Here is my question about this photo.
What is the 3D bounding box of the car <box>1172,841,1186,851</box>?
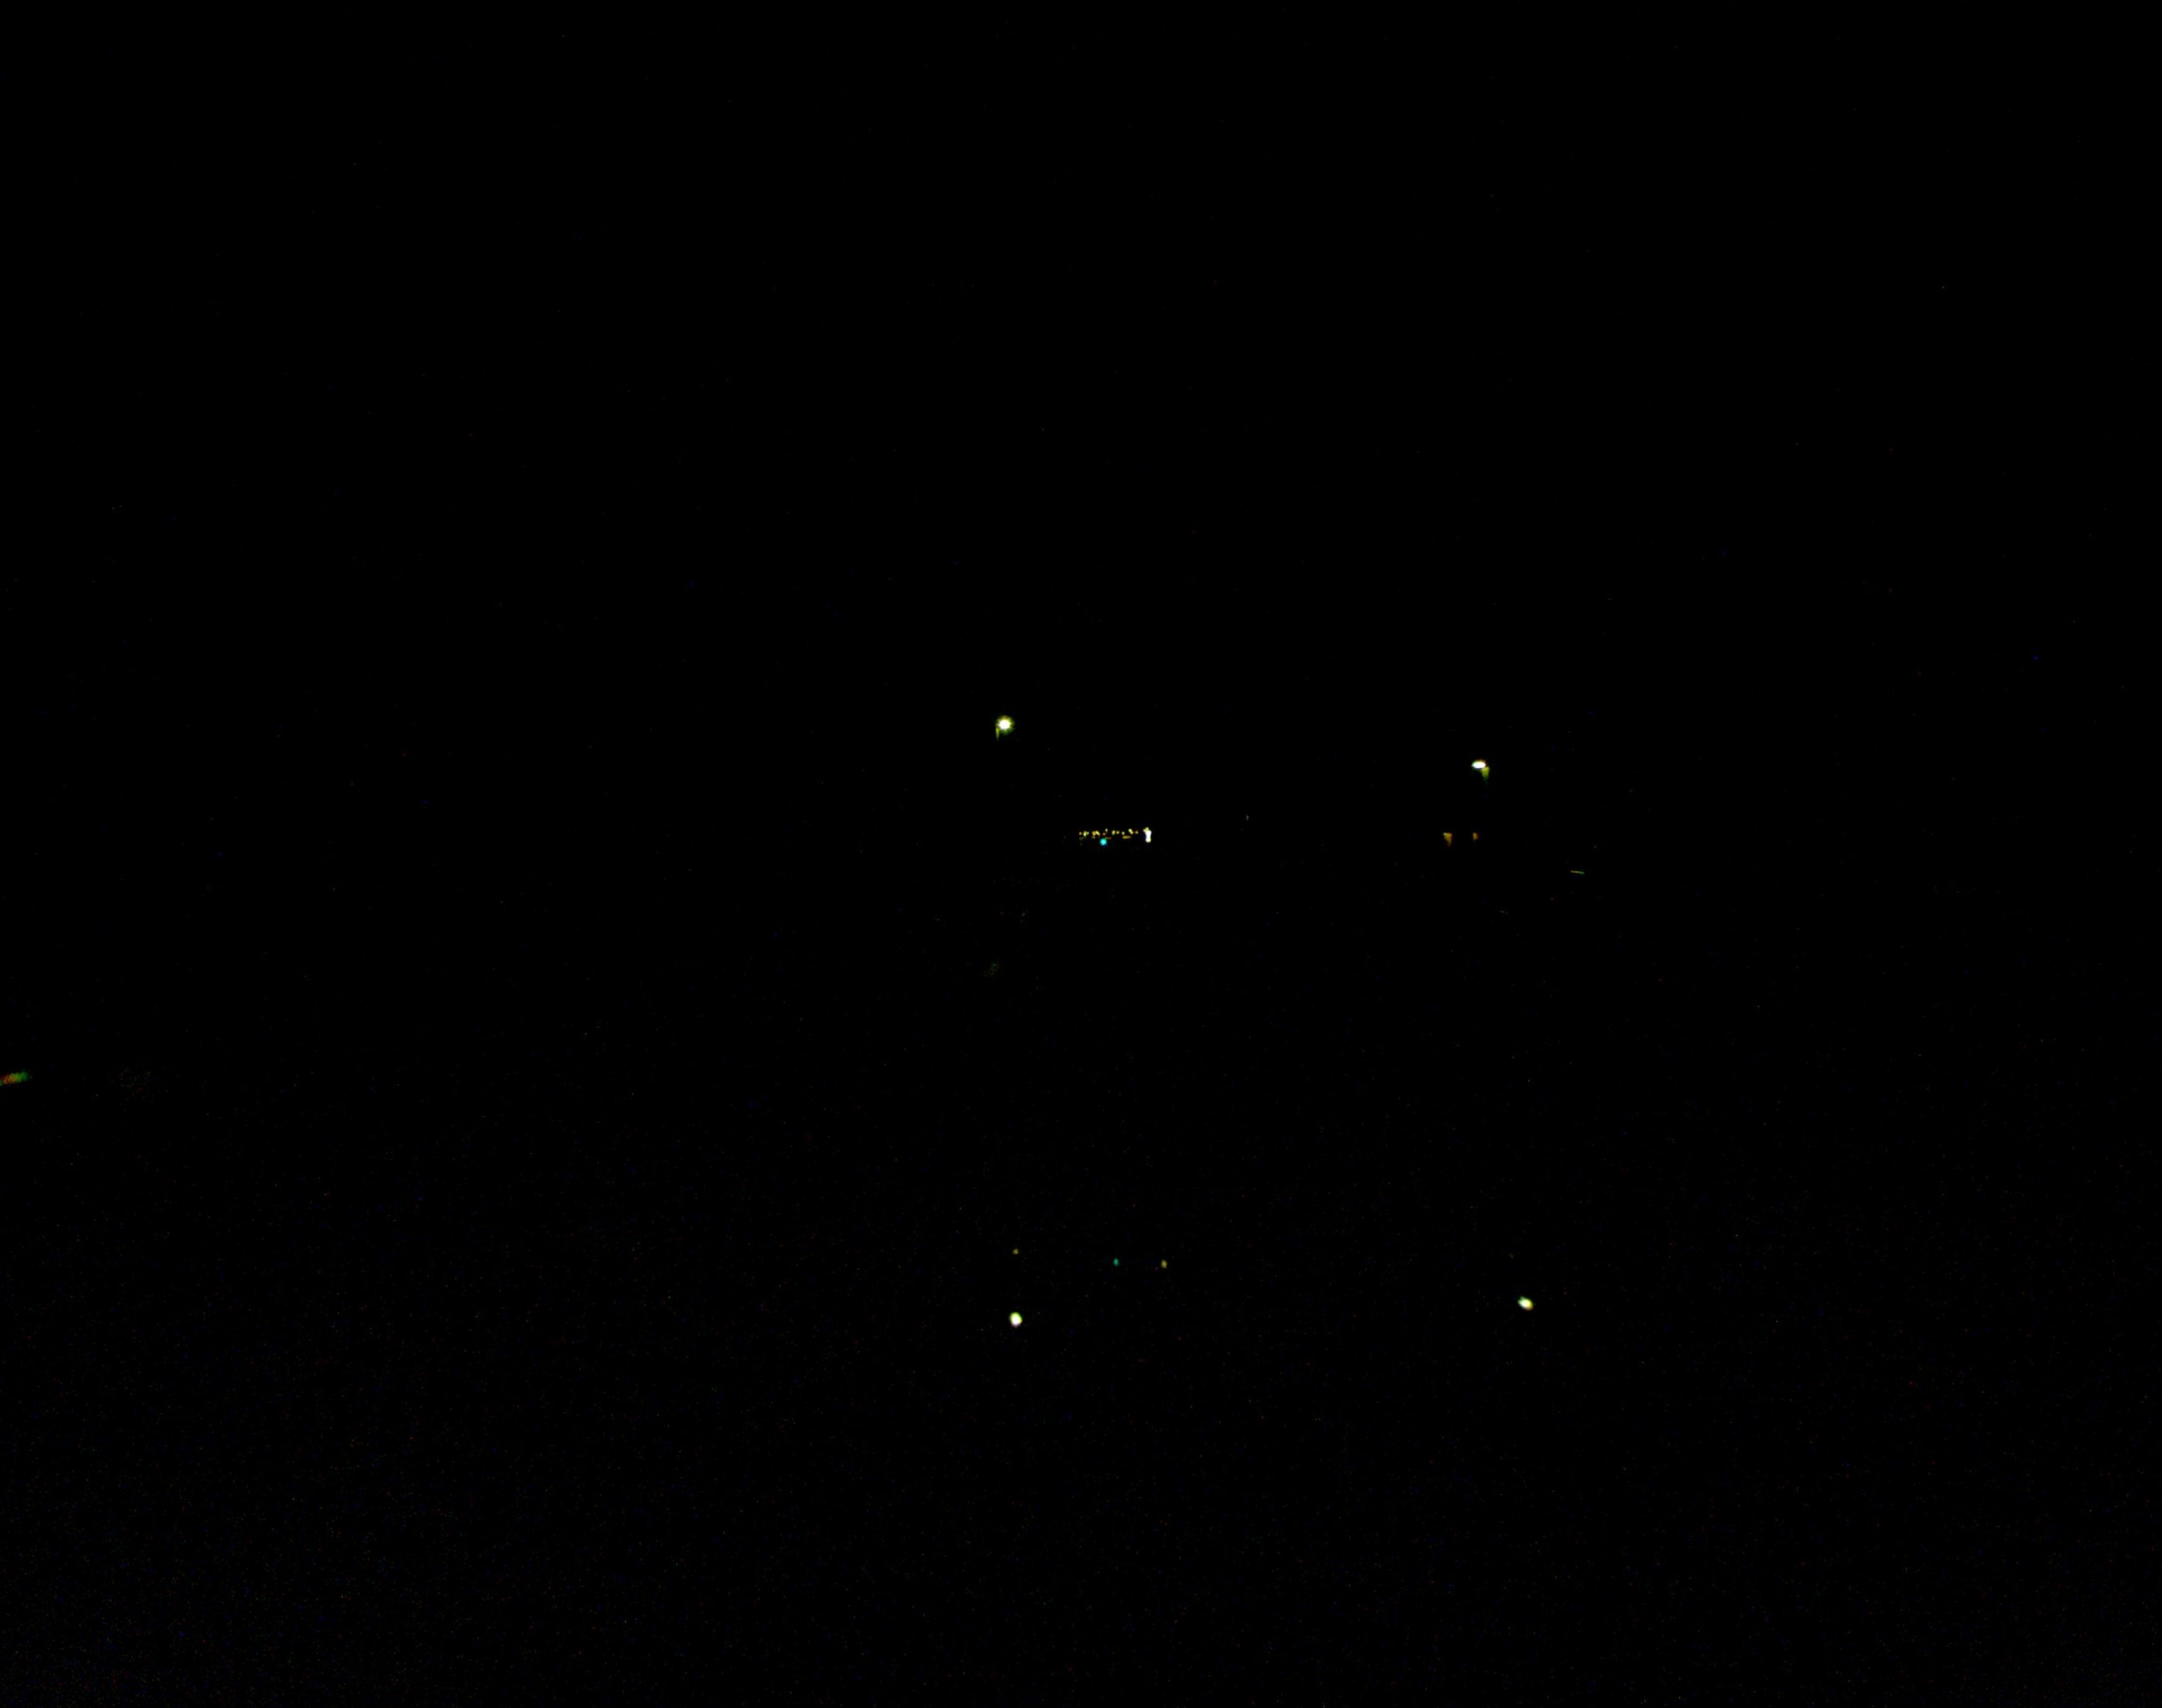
[{"bbox_3d":[17.226,-1.441,133.635,2.124,1.761,4.720,3,1,3],"label":"car"}]

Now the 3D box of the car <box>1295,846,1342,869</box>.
[{"bbox_3d":[16.377,0.207,52.651,1.904,1.357,4.984,3,1,3],"label":"car"}]

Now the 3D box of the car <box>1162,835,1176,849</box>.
[{"bbox_3d":[17.020,-2.359,147.276,2.164,2.498,4.720,3,1,3],"label":"car"}]

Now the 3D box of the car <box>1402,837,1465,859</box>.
[{"bbox_3d":[27.216,-0.501,58.753,3.997,1.534,1.889,-2,1,-1],"label":"car"}]

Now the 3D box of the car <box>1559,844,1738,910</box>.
[{"bbox_3d":[15.851,0.556,21.591,1.721,1.568,4.535,3,1,2],"label":"car"}]

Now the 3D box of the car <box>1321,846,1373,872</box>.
[{"bbox_3d":[16.273,0.276,46.722,1.732,1.357,4.145,3,1,1],"label":"car"}]

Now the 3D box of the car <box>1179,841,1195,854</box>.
[{"bbox_3d":[16.739,-1.049,120.233,2.124,1.761,4.720,3,1,3],"label":"car"}]

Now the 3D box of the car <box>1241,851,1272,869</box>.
[{"bbox_3d":[16.646,0.555,72.314,1.768,1.559,4.693,4,0,1],"label":"car"}]

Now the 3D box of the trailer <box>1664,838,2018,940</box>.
[{"bbox_3d":[15.765,0.599,16.427,2.029,1.770,5.674,2,1,2],"label":"trailer"}]
